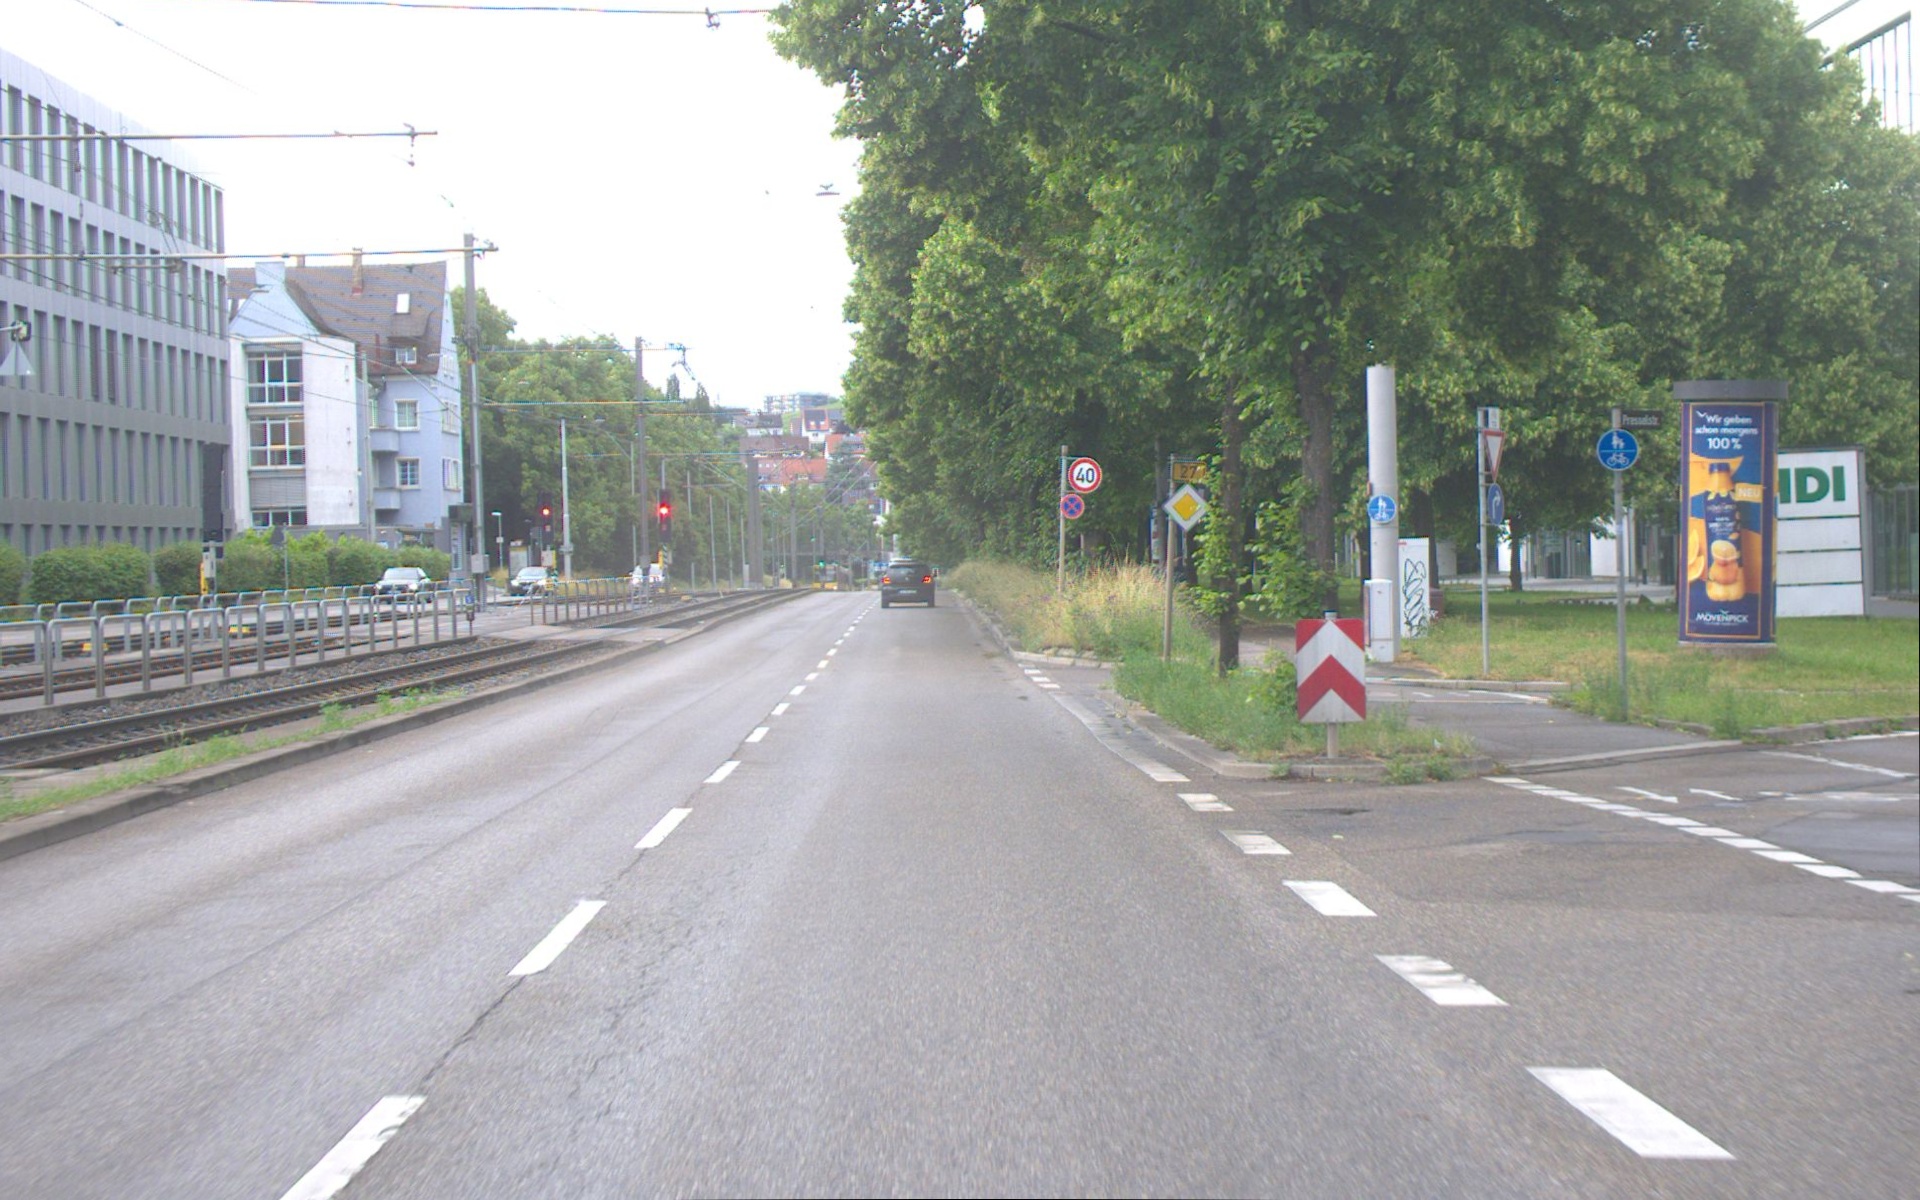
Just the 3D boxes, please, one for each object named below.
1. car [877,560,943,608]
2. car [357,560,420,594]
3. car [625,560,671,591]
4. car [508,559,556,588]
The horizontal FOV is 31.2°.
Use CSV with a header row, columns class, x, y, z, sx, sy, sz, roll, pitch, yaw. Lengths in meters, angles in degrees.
class,x,y,z,sx,sy,sz,roll,pitch,yaw
car,-1.549,-0.512,107.861,1.982,1.436,4.474,-1,1,0
car,-21.613,-0.885,130.156,1.756,1.240,3.988,-1,1,0
car,-16.853,-1.336,185.866,1.902,1.639,4.884,-1,1,1
car,-20.450,-1.264,164.338,1.798,1.342,4.259,-1,1,0
